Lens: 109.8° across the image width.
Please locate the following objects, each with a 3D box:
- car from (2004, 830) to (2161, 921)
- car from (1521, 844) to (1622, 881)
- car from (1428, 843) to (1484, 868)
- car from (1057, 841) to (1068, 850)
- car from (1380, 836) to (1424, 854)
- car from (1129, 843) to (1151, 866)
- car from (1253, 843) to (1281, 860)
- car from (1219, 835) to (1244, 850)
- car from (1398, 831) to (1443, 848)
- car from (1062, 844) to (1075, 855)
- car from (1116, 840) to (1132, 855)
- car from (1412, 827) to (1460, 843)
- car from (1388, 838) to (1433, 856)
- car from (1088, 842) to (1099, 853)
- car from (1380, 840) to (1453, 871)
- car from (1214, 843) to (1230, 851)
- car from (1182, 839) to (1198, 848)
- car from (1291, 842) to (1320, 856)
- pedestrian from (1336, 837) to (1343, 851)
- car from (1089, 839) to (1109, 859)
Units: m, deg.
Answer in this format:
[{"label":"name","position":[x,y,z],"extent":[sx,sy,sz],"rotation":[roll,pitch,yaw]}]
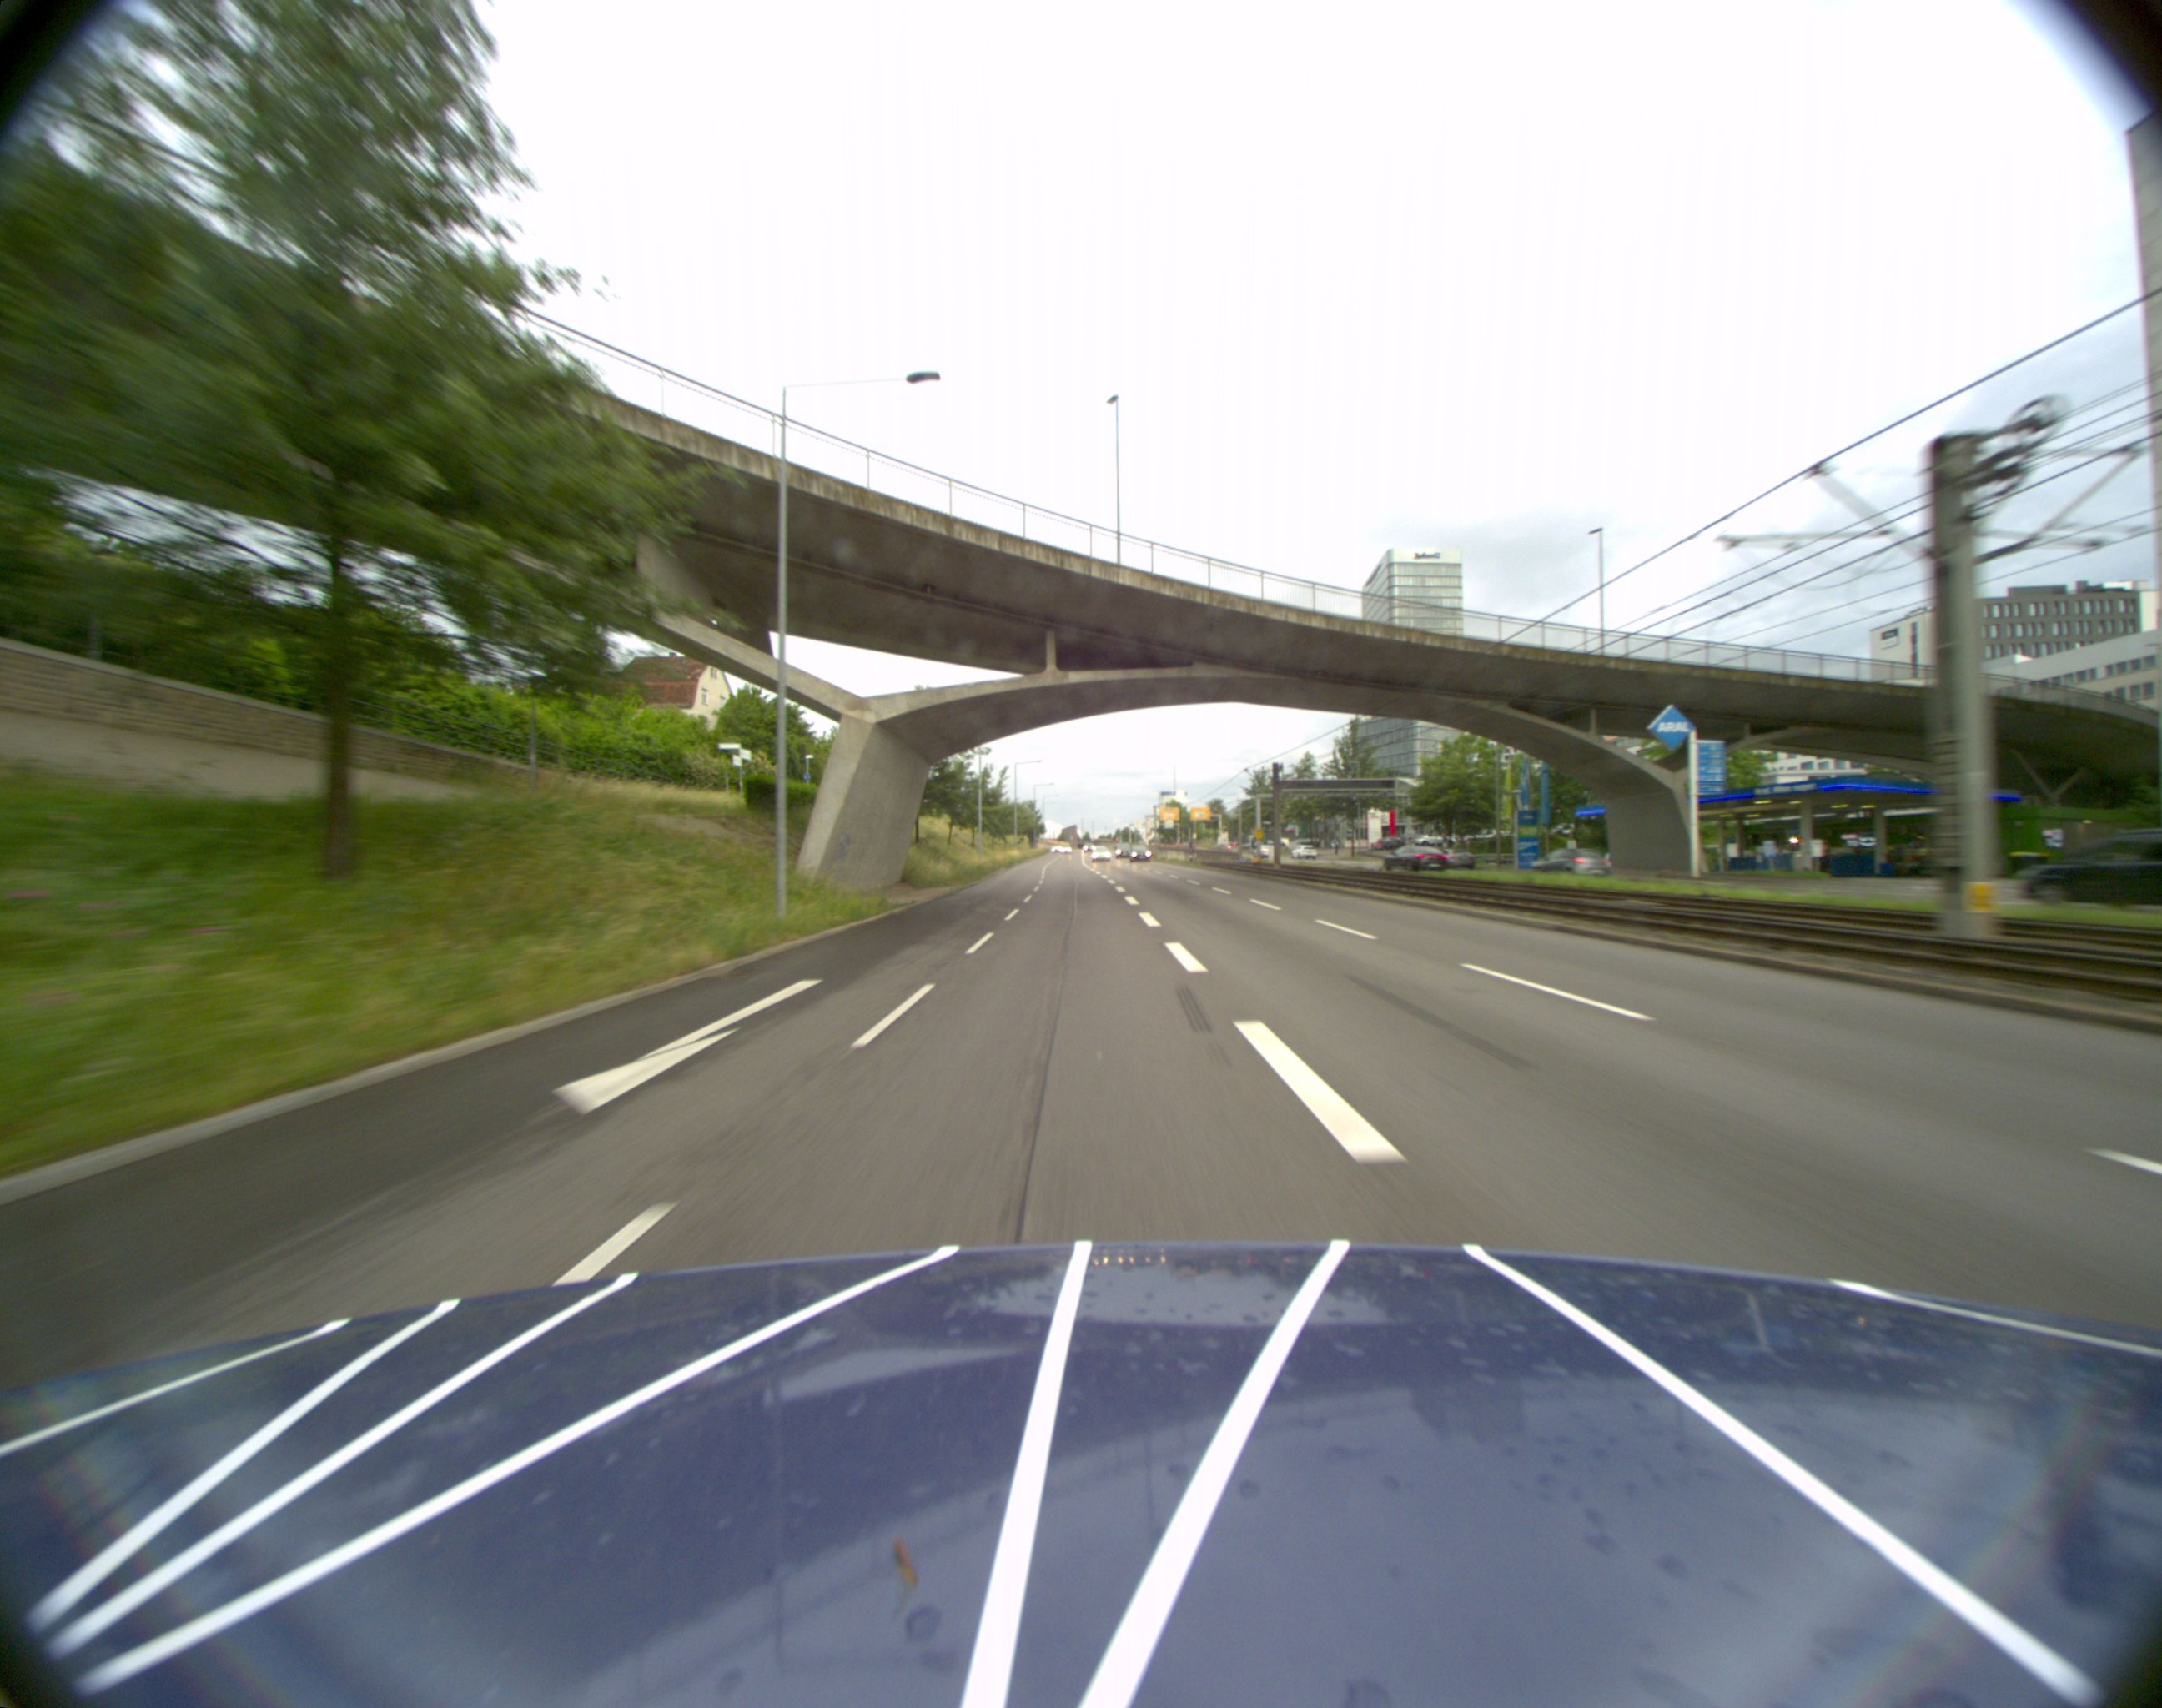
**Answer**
[{"label":"car","position":[24.572,0.450,16.774],"extent":[2.064,1.941,5.131],"rotation":[-2,0,-1]},{"label":"car","position":[22.190,0.363,34.562],"extent":[1.814,1.524,4.274],"rotation":[-2,0,0]},{"label":"car","position":[26.081,0.076,53.005],"extent":[1.768,1.588,4.491],"rotation":[-2,0,2]},{"label":"car","position":[-3.715,-1.754,153.452],"extent":[1.794,1.622,4.376],"rotation":[-2,2,2]},{"label":"car","position":[38.069,-1.130,90.091],"extent":[4.363,1.936,1.885],"rotation":[-2,2,4]},{"label":"car","position":[5.387,-0.006,69.729],"extent":[1.794,1.858,4.376],"rotation":[-2,2,3]},{"label":"car","position":[18.887,-0.279,77.358],"extent":[1.768,1.588,4.792],"rotation":[-2,0,2]},{"label":"car","position":[18.862,-1.383,95.337],"extent":[1.926,1.766,4.222],"rotation":[1,0,-4]},{"label":"car","position":[37.953,-1.600,84.928],"extent":[4.196,1.762,1.885],"rotation":[-2,2,4]},{"label":"car","position":[-2.157,-0.816,132.241],"extent":[1.794,1.622,4.376],"rotation":[-2,2,3]},{"label":"car","position":[4.932,-0.755,87.493],"extent":[1.794,1.536,4.376],"rotation":[-2,2,3]},{"label":"car","position":[38.623,-2.091,82.803],"extent":[4.363,1.495,1.885],"rotation":[-2,2,4]},{"label":"car","position":[38.145,-0.826,87.981],"extent":[4.363,1.936,1.885],"rotation":[-2,2,4]},{"label":"car","position":[2.192,-1.132,136.575],"extent":[1.794,1.858,4.376],"rotation":[-2,2,3]},{"label":"car","position":[18.532,0.068,42.195],"extent":[1.814,1.524,4.868],"rotation":[-2,0,0]},{"label":"car","position":[26.628,-1.279,143.325],"extent":[2.053,1.520,4.566],"rotation":[-2,0,-2]},{"label":"car","position":[19.421,-1.847,135.598],"extent":[2.052,1.530,4.758],"rotation":[-2,0,-1]},{"label":"car","position":[24.724,-0.583,83.899],"extent":[1.925,1.488,4.657],"rotation":[2,0,2]},{"label":"pedestrian","position":[34.339,-1.282,100.769],"extent":[0.688,1.786,0.636],"rotation":[-2,2,2]},{"label":"car","position":[1.845,-0.565,76.903],"extent":[1.794,1.858,4.376],"rotation":[-2,2,3]}]
